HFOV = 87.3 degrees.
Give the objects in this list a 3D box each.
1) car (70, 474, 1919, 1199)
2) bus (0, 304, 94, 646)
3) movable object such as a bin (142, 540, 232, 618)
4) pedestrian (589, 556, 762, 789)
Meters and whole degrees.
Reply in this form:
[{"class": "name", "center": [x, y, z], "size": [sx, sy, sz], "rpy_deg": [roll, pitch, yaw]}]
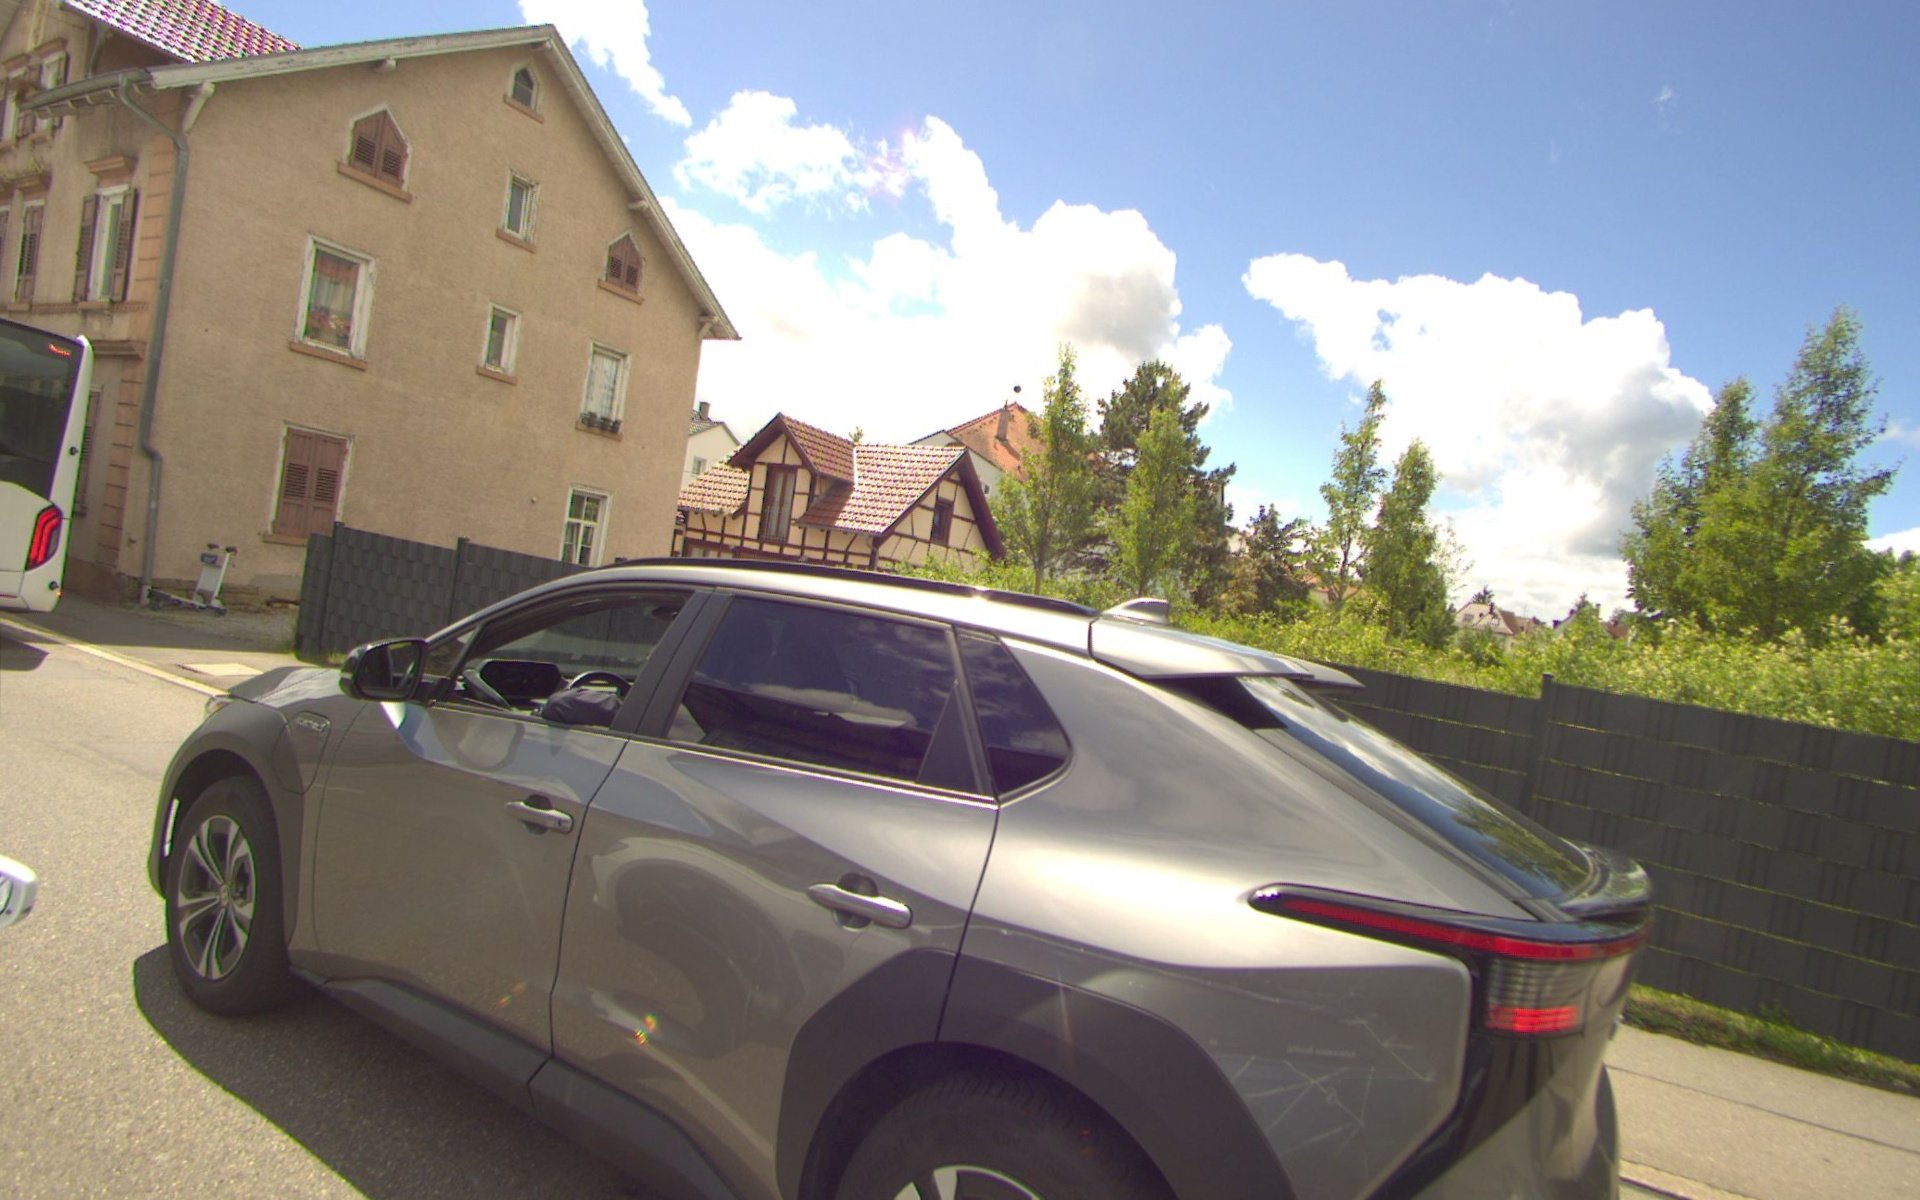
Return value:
[{"class": "car", "center": [-0.532, 0.729, 3.099], "size": [4.605, 1.631, 1.924], "rpy_deg": [7, -2, 32]}, {"class": "bus", "center": [-14.624, -1.859, 12.095], "size": [12.255, 3.195, 2.676], "rpy_deg": [7, 0, 32]}, {"class": "movable object such as a bin", "center": [-11.445, -0.311, 14.894], "size": [0.736, 1.025, 0.776], "rpy_deg": [7, 1, 32]}, {"class": "pedestrian", "center": [-2.124, 0.528, 7.571], "size": [0.700, 1.581, 0.860], "rpy_deg": [7, 1, 31]}]
